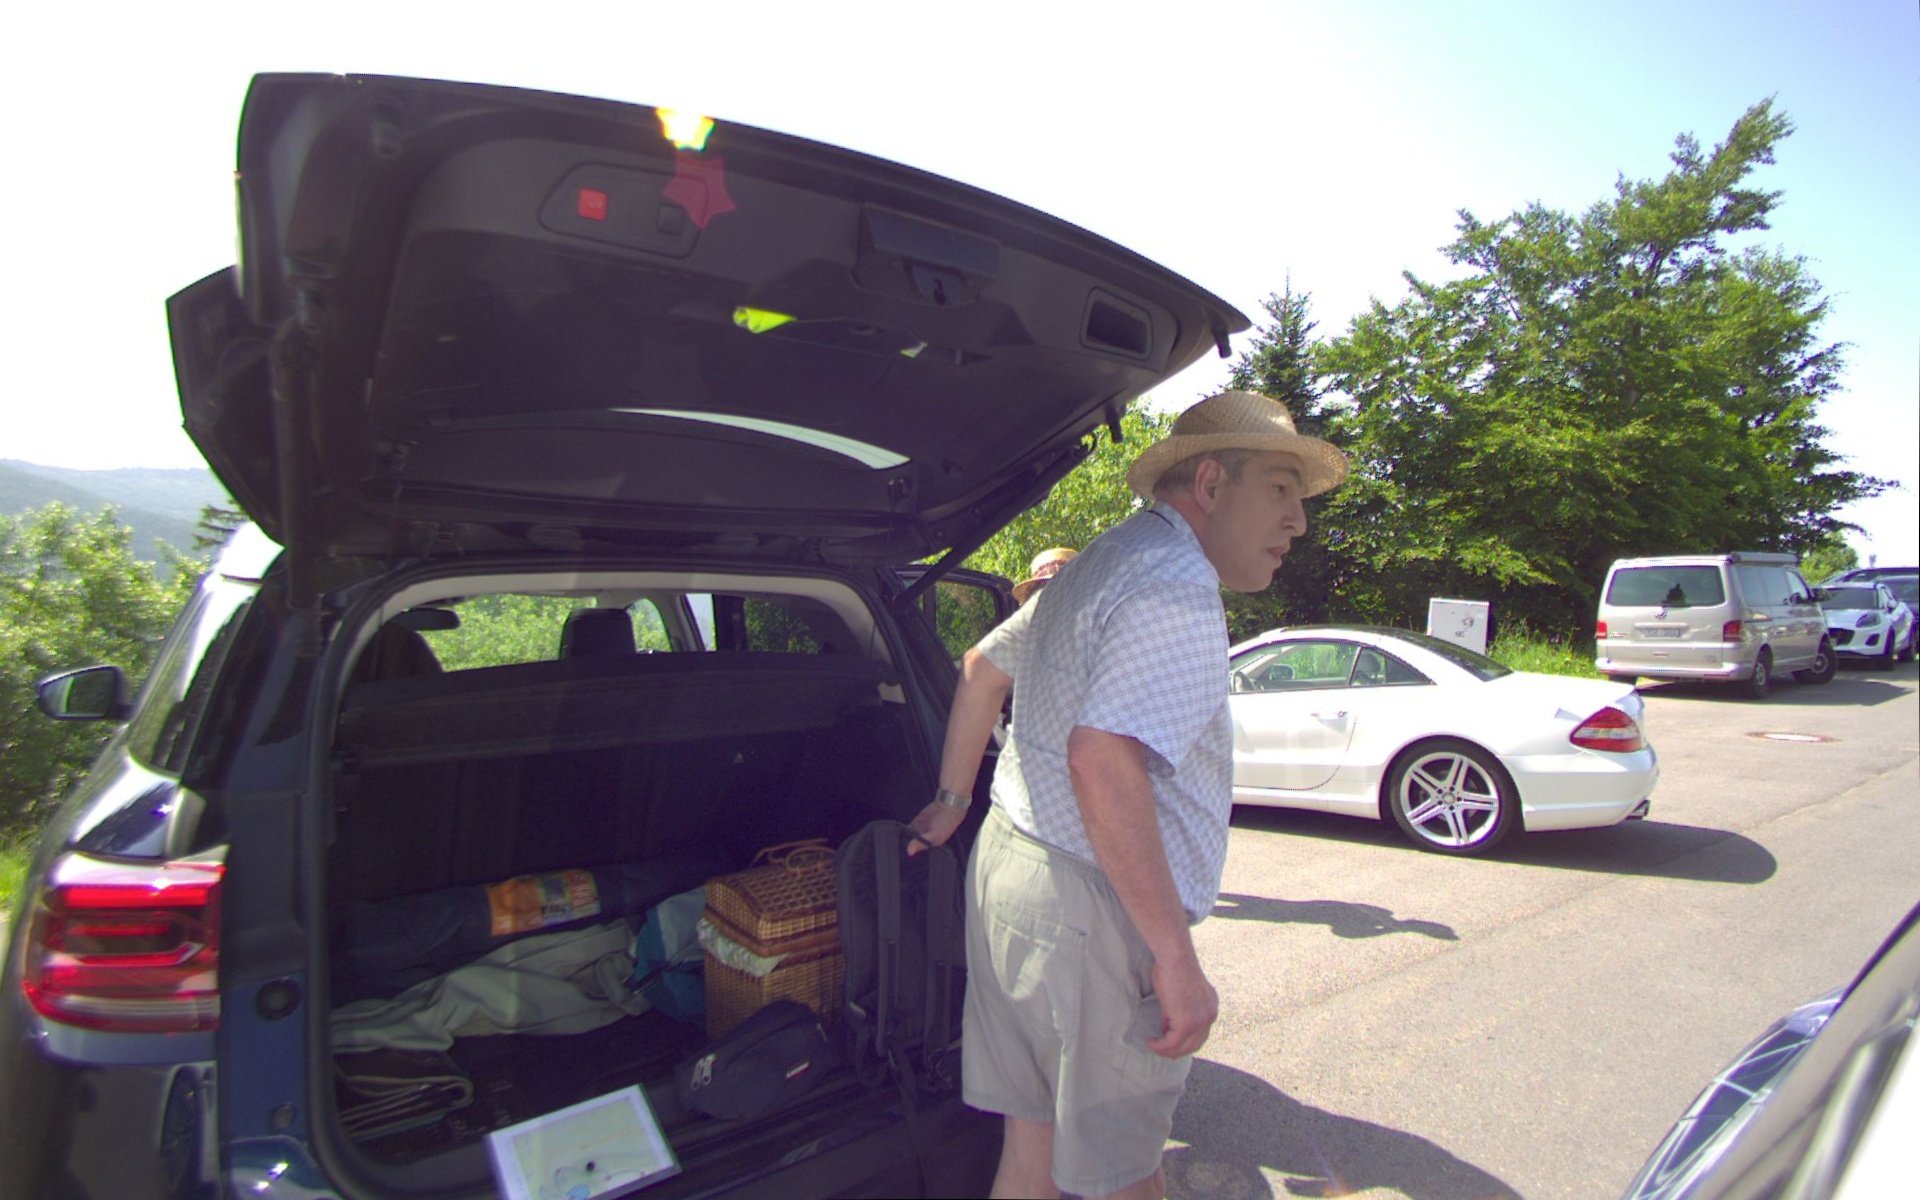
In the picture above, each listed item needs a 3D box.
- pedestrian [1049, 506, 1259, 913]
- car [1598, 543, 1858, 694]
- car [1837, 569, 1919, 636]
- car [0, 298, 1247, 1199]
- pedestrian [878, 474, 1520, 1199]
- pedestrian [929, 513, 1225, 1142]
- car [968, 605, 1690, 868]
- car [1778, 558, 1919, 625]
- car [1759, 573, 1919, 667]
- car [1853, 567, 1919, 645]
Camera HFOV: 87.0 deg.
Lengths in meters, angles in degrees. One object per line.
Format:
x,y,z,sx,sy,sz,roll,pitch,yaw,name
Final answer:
0.966,0.480,5.045,0.736,1.822,0.734,-1,1,-45,pedestrian
11.607,0.223,15.203,4.522,1.960,1.862,-1,0,-36,car
24.786,0.044,25.361,3.969,1.639,1.855,0,0,32,car
-1.538,0.596,2.959,1.835,1.647,4.355,-1,0,-37,car
0.385,0.820,1.503,0.731,1.895,0.750,1,-1,29,pedestrian
0.340,0.581,3.066,0.527,1.633,0.715,-1,1,-40,pedestrian
2.340,0.704,7.058,4.382,1.312,1.734,-1,-1,35,car
27.732,-0.248,30.591,4.426,1.949,1.855,0,0,32,car
16.543,0.302,18.820,3.929,1.567,1.874,-1,0,-40,car
21.501,0.102,22.517,3.929,1.639,1.874,-1,0,-40,car
